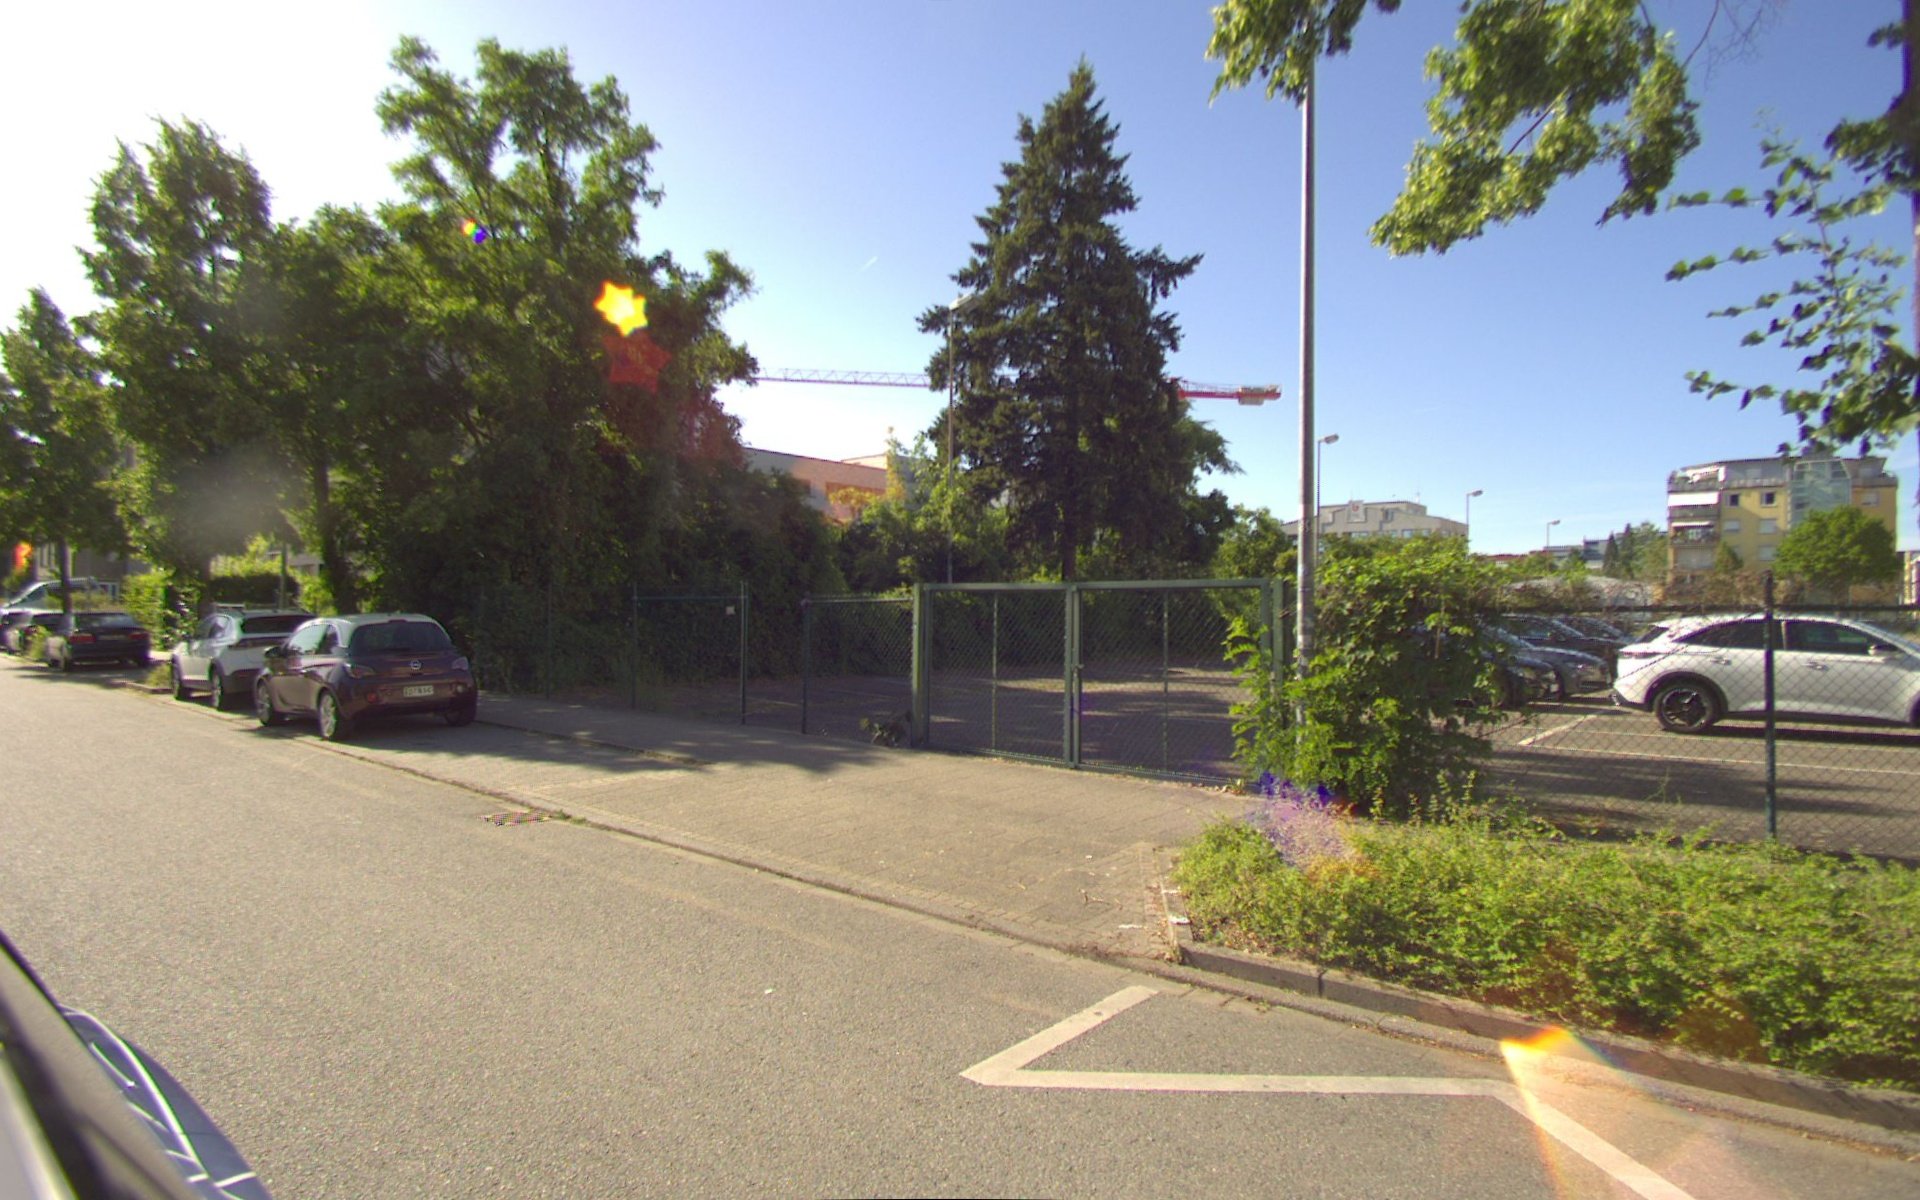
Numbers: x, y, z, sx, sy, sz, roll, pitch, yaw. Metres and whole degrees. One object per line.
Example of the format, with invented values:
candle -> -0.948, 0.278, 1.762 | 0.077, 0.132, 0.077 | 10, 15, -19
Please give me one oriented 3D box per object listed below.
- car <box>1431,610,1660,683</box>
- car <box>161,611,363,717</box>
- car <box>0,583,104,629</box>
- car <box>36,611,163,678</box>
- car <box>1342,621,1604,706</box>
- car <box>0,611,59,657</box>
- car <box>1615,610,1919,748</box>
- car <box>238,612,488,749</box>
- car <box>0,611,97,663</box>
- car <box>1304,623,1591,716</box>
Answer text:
car -> 13.788, 1.031, 24.000 | 4.375, 1.572, 1.944 | -1, -1, 44
car -> -11.684, 0.956, 16.856 | 4.000, 1.485, 1.821 | 0, 1, 41
car -> -59.965, 0.403, 66.698 | 2.011, 2.924, 5.091 | 0, -1, 37
car -> -21.848, 1.059, 25.631 | 4.358, 1.485, 1.821 | 0, 1, 41
car -> 10.272, 1.199, 20.480 | 4.375, 1.506, 1.944 | -1, -1, 44
car -> -33.638, 1.190, 36.025 | 4.098, 1.485, 1.821 | 0, 1, 41
car -> 11.370, 0.949, 13.228 | 4.427, 1.622, 1.971 | -1, -1, 44
car -> -7.893, 0.934, 13.284 | 3.543, 1.485, 1.701 | 0, 1, 39
car -> -28.773, 1.110, 31.890 | 4.025, 1.485, 1.821 | 0, 1, 41
car -> 8.845, 1.179, 18.610 | 4.375, 1.467, 1.944 | -1, -1, 44
